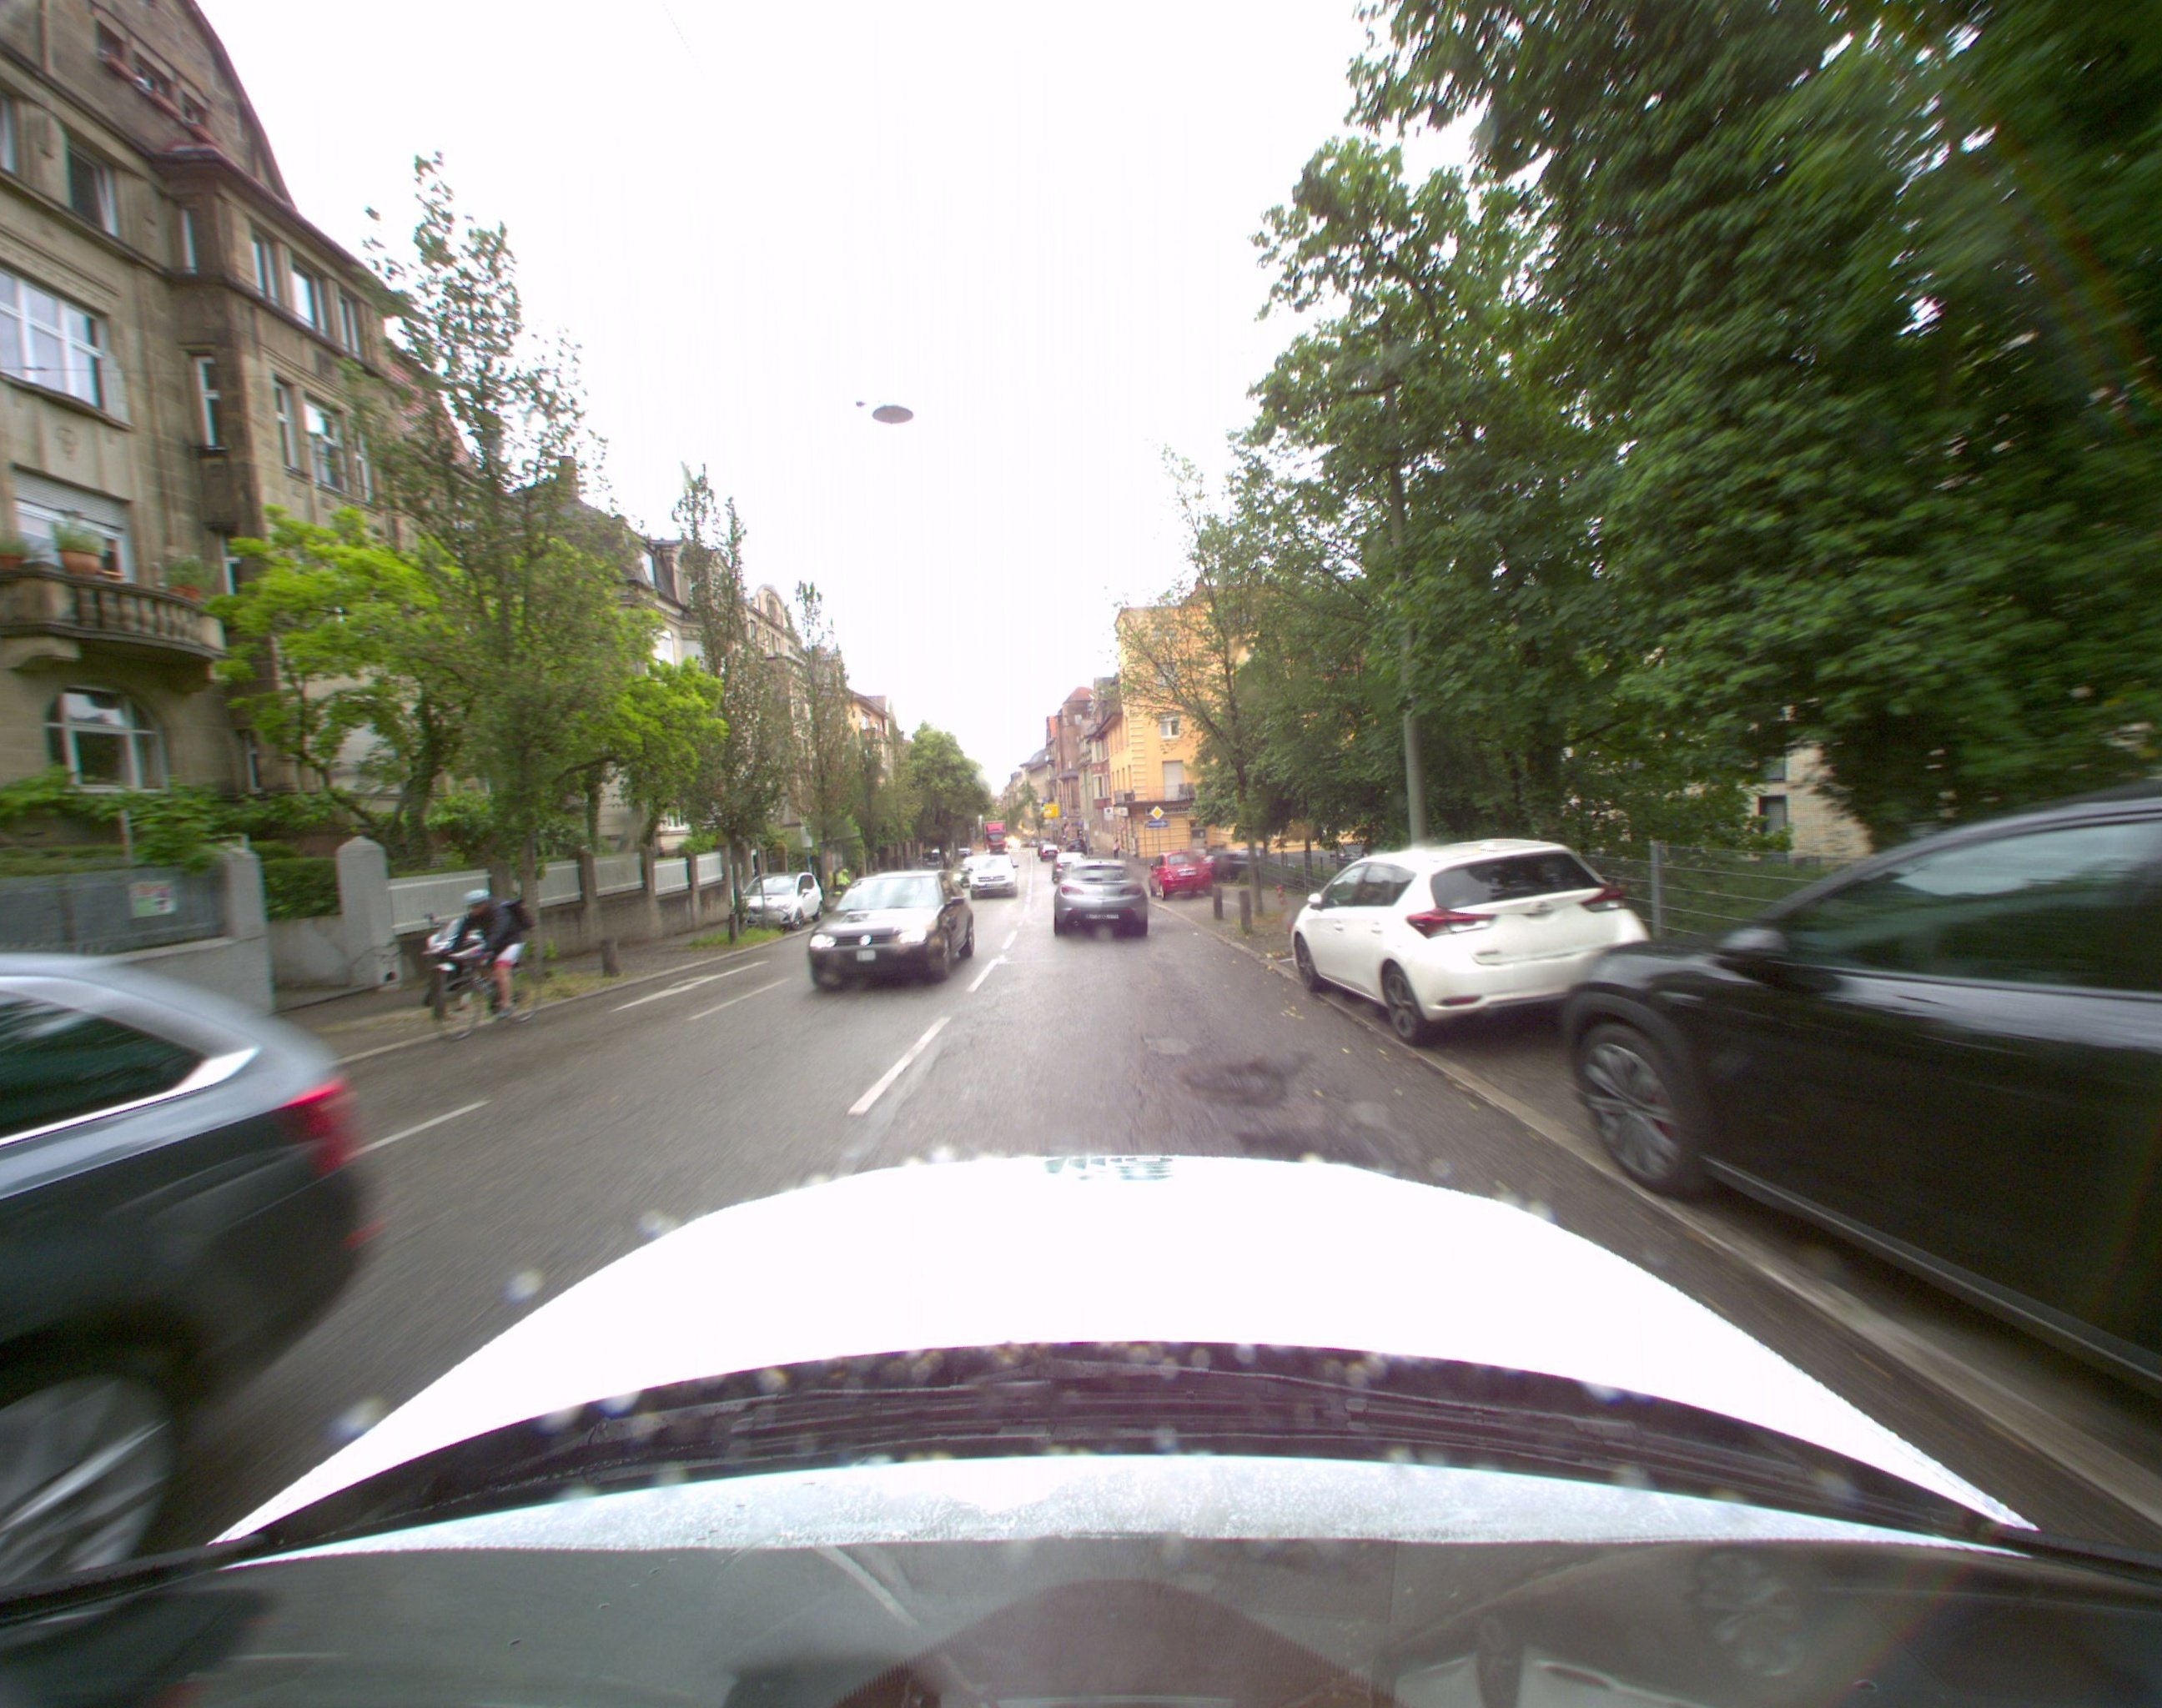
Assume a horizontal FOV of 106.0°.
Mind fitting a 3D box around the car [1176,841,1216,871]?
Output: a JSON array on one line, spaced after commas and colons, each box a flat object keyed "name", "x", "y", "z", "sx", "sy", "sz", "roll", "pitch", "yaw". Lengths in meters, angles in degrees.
[{"name": "car", "x": 6.255, "y": 0.066, "z": 43.857, "sx": 1.764, "sy": 1.429, "sz": 3.800, "roll": -2, "pitch": 2, "yaw": 13}]

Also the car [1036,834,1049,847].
[{"name": "car", "x": -4.895, "y": -1.653, "z": 103.174, "sx": 1.637, "sy": 1.536, "sz": 3.712, "roll": -3, "pitch": 0, "yaw": -3}]

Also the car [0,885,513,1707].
[{"name": "car", "x": -2.821, "y": 0.901, "z": 0.479, "sx": 1.731, "sy": 1.473, "sz": 4.284, "roll": -4, "pitch": 0, "yaw": 3}]

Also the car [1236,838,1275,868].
[{"name": "car", "x": 9.769, "y": -0.070, "z": 45.434, "sx": 1.762, "sy": 1.429, "sz": 3.803, "roll": -2, "pitch": 2, "yaw": 17}]

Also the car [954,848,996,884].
[{"name": "car", "x": -5.404, "y": 0.586, "z": 41.826, "sx": 1.617, "sy": 1.650, "sz": 3.143, "roll": -5, "pitch": 0, "yaw": 0}]

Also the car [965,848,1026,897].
[{"name": "car", "x": -3.293, "y": 0.660, "z": 32.067, "sx": 1.817, "sy": 1.650, "sz": 4.000, "roll": -5, "pitch": 0, "yaw": 0}]

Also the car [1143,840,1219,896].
[{"name": "car", "x": 3.216, "y": 0.441, "z": 26.978, "sx": 1.810, "sy": 1.467, "sz": 3.998, "roll": -8, "pitch": 0, "yaw": -1}]

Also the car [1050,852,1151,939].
[{"name": "car", "x": 0.370, "y": 0.770, "z": 17.175, "sx": 1.809, "sy": 1.429, "sz": 4.000, "roll": -3, "pitch": 1, "yaw": 0}]

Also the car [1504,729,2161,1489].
[{"name": "car", "x": 3.217, "y": 0.458, "z": 2.028, "sx": 1.969, "sy": 1.609, "sz": 4.486, "roll": -6, "pitch": -1, "yaw": 2}]

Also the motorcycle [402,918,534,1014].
[{"name": "motorcycle", "x": -9.116, "y": 1.613, "z": 12.232, "sx": 0.652, "sy": 1.121, "sz": 2.147, "roll": -1, "pitch": 0, "yaw": -10}]

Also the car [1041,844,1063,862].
[{"name": "car", "x": -2.491, "y": -0.124, "z": 69.047, "sx": 1.764, "sy": 1.414, "sz": 3.712, "roll": -1, "pitch": 1, "yaw": -3}]

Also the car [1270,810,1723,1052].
[{"name": "car", "x": 3.372, "y": 0.555, "z": 7.705, "sx": 1.971, "sy": 1.452, "sz": 4.111, "roll": -6, "pitch": -1, "yaw": -2}]

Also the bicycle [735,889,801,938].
[{"name": "bicycle", "x": -8.352, "y": 1.583, "z": 21.768, "sx": 1.461, "sy": 1.120, "sz": 0.380, "roll": -7, "pitch": 1, "yaw": -7}]

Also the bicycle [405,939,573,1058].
[{"name": "bicycle", "x": -6.855, "y": 1.618, "z": 9.593, "sx": 0.653, "sy": 0.982, "sz": 2.147, "roll": -5, "pitch": 0, "yaw": -10}]

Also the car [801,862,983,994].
[{"name": "car", "x": -2.490, "y": 0.898, "z": 11.696, "sx": 1.656, "sy": 1.448, "sz": 3.991, "roll": -4, "pitch": 0, "yaw": -1}]

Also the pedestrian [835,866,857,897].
[{"name": "pedestrian", "x": -11.217, "y": 1.310, "z": 38.854, "sx": 0.705, "sy": 1.343, "sz": 0.613, "roll": -7, "pitch": 0, "yaw": -1}]

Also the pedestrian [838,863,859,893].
[{"name": "pedestrian", "x": -11.270, "y": 1.142, "z": 39.499, "sx": 0.705, "sy": 1.343, "sz": 0.613, "roll": -7, "pitch": 0, "yaw": -1}]

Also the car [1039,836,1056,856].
[{"name": "car", "x": -3.383, "y": -0.865, "z": 81.746, "sx": 1.637, "sy": 1.688, "sz": 3.713, "roll": -3, "pitch": 4, "yaw": -3}]

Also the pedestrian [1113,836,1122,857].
[{"name": "pedestrian", "x": 2.738, "y": -0.561, "z": 61.289, "sx": 0.611, "sy": 1.496, "sz": 0.552, "roll": -3, "pitch": 3, "yaw": -1}]

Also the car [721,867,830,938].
[{"name": "car", "x": -9.016, "y": 1.361, "z": 24.422, "sx": 1.785, "sy": 1.651, "sz": 4.190, "roll": -7, "pitch": 0, "yaw": -4}]

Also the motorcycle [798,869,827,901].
[{"name": "motorcycle", "x": -11.178, "y": 1.263, "z": 33.892, "sx": 0.557, "sy": 1.237, "sz": 1.644, "roll": -4, "pitch": 0, "yaw": 0}]

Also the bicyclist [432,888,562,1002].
[{"name": "bicyclist", "x": -6.933, "y": 1.049, "z": 9.740, "sx": 0.771, "sy": 1.169, "sz": 1.078, "roll": -5, "pitch": 1, "yaw": -10}]

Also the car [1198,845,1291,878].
[{"name": "car", "x": 7.358, "y": 0.338, "z": 36.852, "sx": 3.766, "sy": 1.430, "sz": 1.779, "roll": 1, "pitch": -1, "yaw": -4}]

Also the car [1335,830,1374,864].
[{"name": "car", "x": 15.037, "y": -0.421, "z": 44.658, "sx": 1.760, "sy": 1.666, "sz": 3.807, "roll": -1, "pitch": 2, "yaw": 22}]

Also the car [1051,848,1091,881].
[{"name": "car", "x": -0.494, "y": 0.470, "z": 38.880, "sx": 1.771, "sy": 1.430, "sz": 3.784, "roll": -1, "pitch": 0, "yaw": -1}]

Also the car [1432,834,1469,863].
[{"name": "car", "x": 20.607, "y": -0.324, "z": 45.509, "sx": 1.760, "sy": 1.429, "sz": 3.808, "roll": -1, "pitch": 3, "yaw": 24}]

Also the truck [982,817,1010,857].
[{"name": "truck", "x": -9.550, "y": -2.007, "z": 92.392, "sx": 2.785, "sy": 4.131, "sz": 10.835, "roll": -4, "pitch": 3, "yaw": -5}]

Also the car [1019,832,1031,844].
[{"name": "car", "x": -10.017, "y": -2.856, "z": 145.051, "sx": 1.781, "sy": 1.855, "sz": 3.988, "roll": -2, "pitch": -1, "yaw": -8}]

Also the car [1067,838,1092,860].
[{"name": "car", "x": -0.189, "y": -0.485, "z": 78.167, "sx": 1.989, "sy": 1.688, "sz": 3.997, "roll": -8, "pitch": 1, "yaw": -2}]
